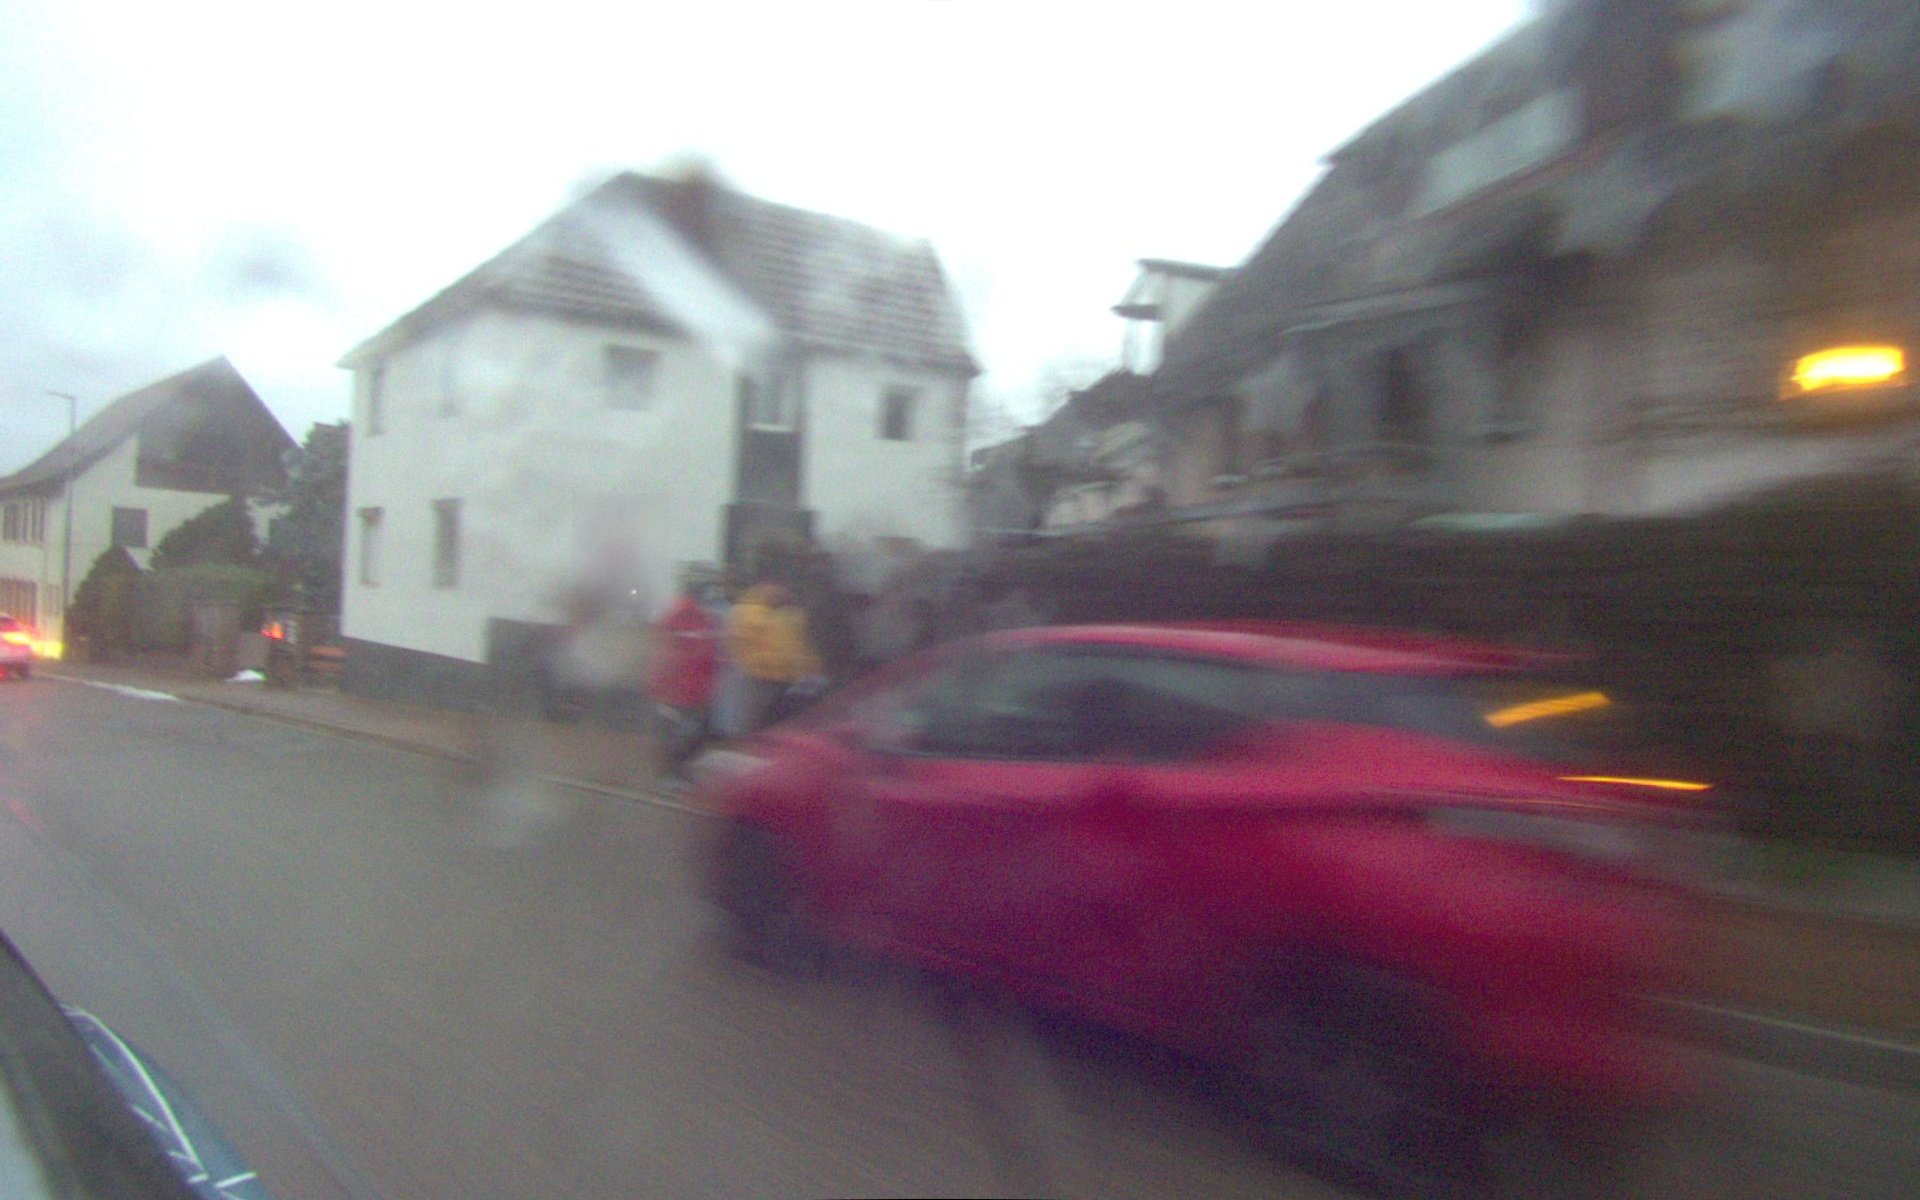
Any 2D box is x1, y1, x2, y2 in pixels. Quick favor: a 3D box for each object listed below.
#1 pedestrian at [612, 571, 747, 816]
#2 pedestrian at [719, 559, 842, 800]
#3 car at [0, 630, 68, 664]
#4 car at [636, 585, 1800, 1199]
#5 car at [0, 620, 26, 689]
[{"bbox_3d":[-2.205,0.688,7.961,0.812,1.792,0.698,0,-1,42],"label":"pedestrian"},{"bbox_3d":[-1.489,0.614,8.400,0.812,1.883,0.592,0,1,41],"label":"pedestrian"},{"bbox_3d":[-43.896,2.140,46.519,4.183,1.436,1.997,0,0,5],"label":"car"},{"bbox_3d":[0.620,0.747,3.982,4.066,1.451,1.804,-2,-1,42],"label":"car"},{"bbox_3d":[-24.609,1.334,25.087,3.998,1.592,1.739,0,0,41],"label":"car"}]
